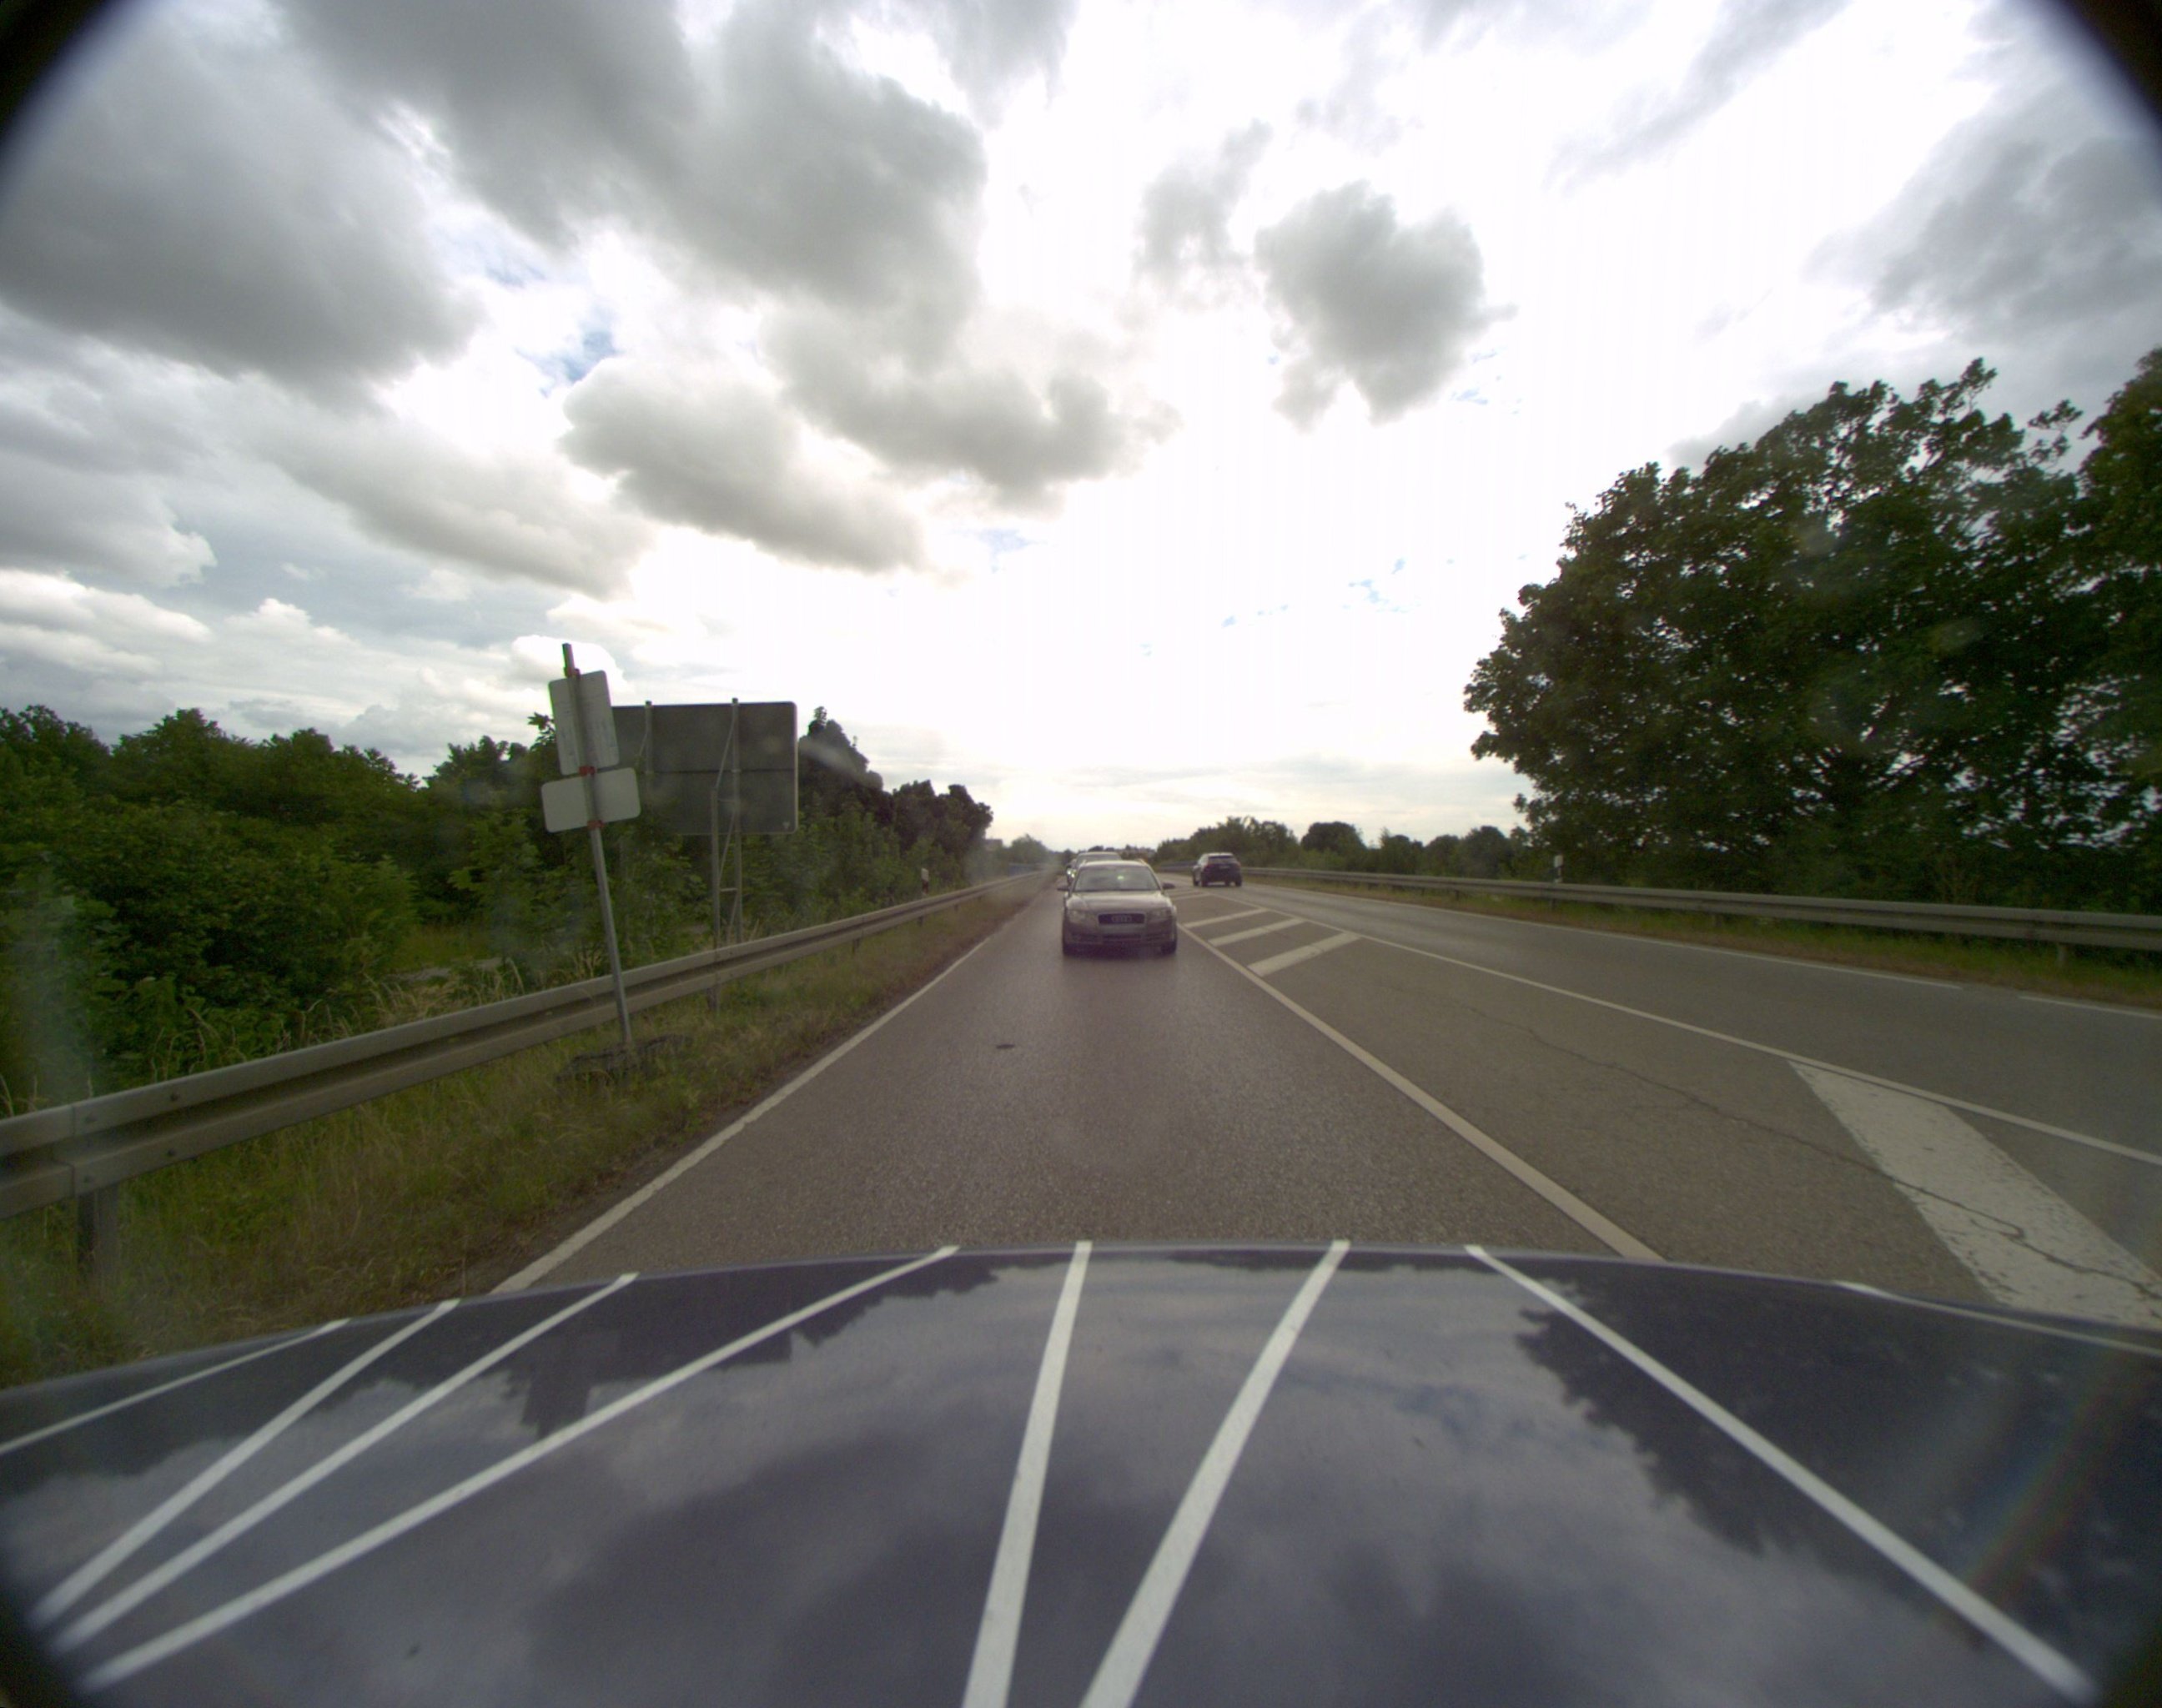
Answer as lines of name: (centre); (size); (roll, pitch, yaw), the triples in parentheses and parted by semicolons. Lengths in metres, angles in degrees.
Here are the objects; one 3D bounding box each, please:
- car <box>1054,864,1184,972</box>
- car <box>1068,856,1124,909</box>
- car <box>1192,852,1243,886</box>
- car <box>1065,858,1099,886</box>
car: (0.519, 0.911, 12.478); (1.768, 1.383, 3.876); (-2, 0, 0)
car: (0.480, 0.851, 24.380); (1.603, 1.494, 3.962); (-2, 0, 1)
car: (6.539, 0.686, 36.803); (1.714, 1.509, 4.209); (-2, 0, 1)
car: (0.048, 0.893, 40.072); (1.670, 1.339, 4.000); (-2, 0, 0)
